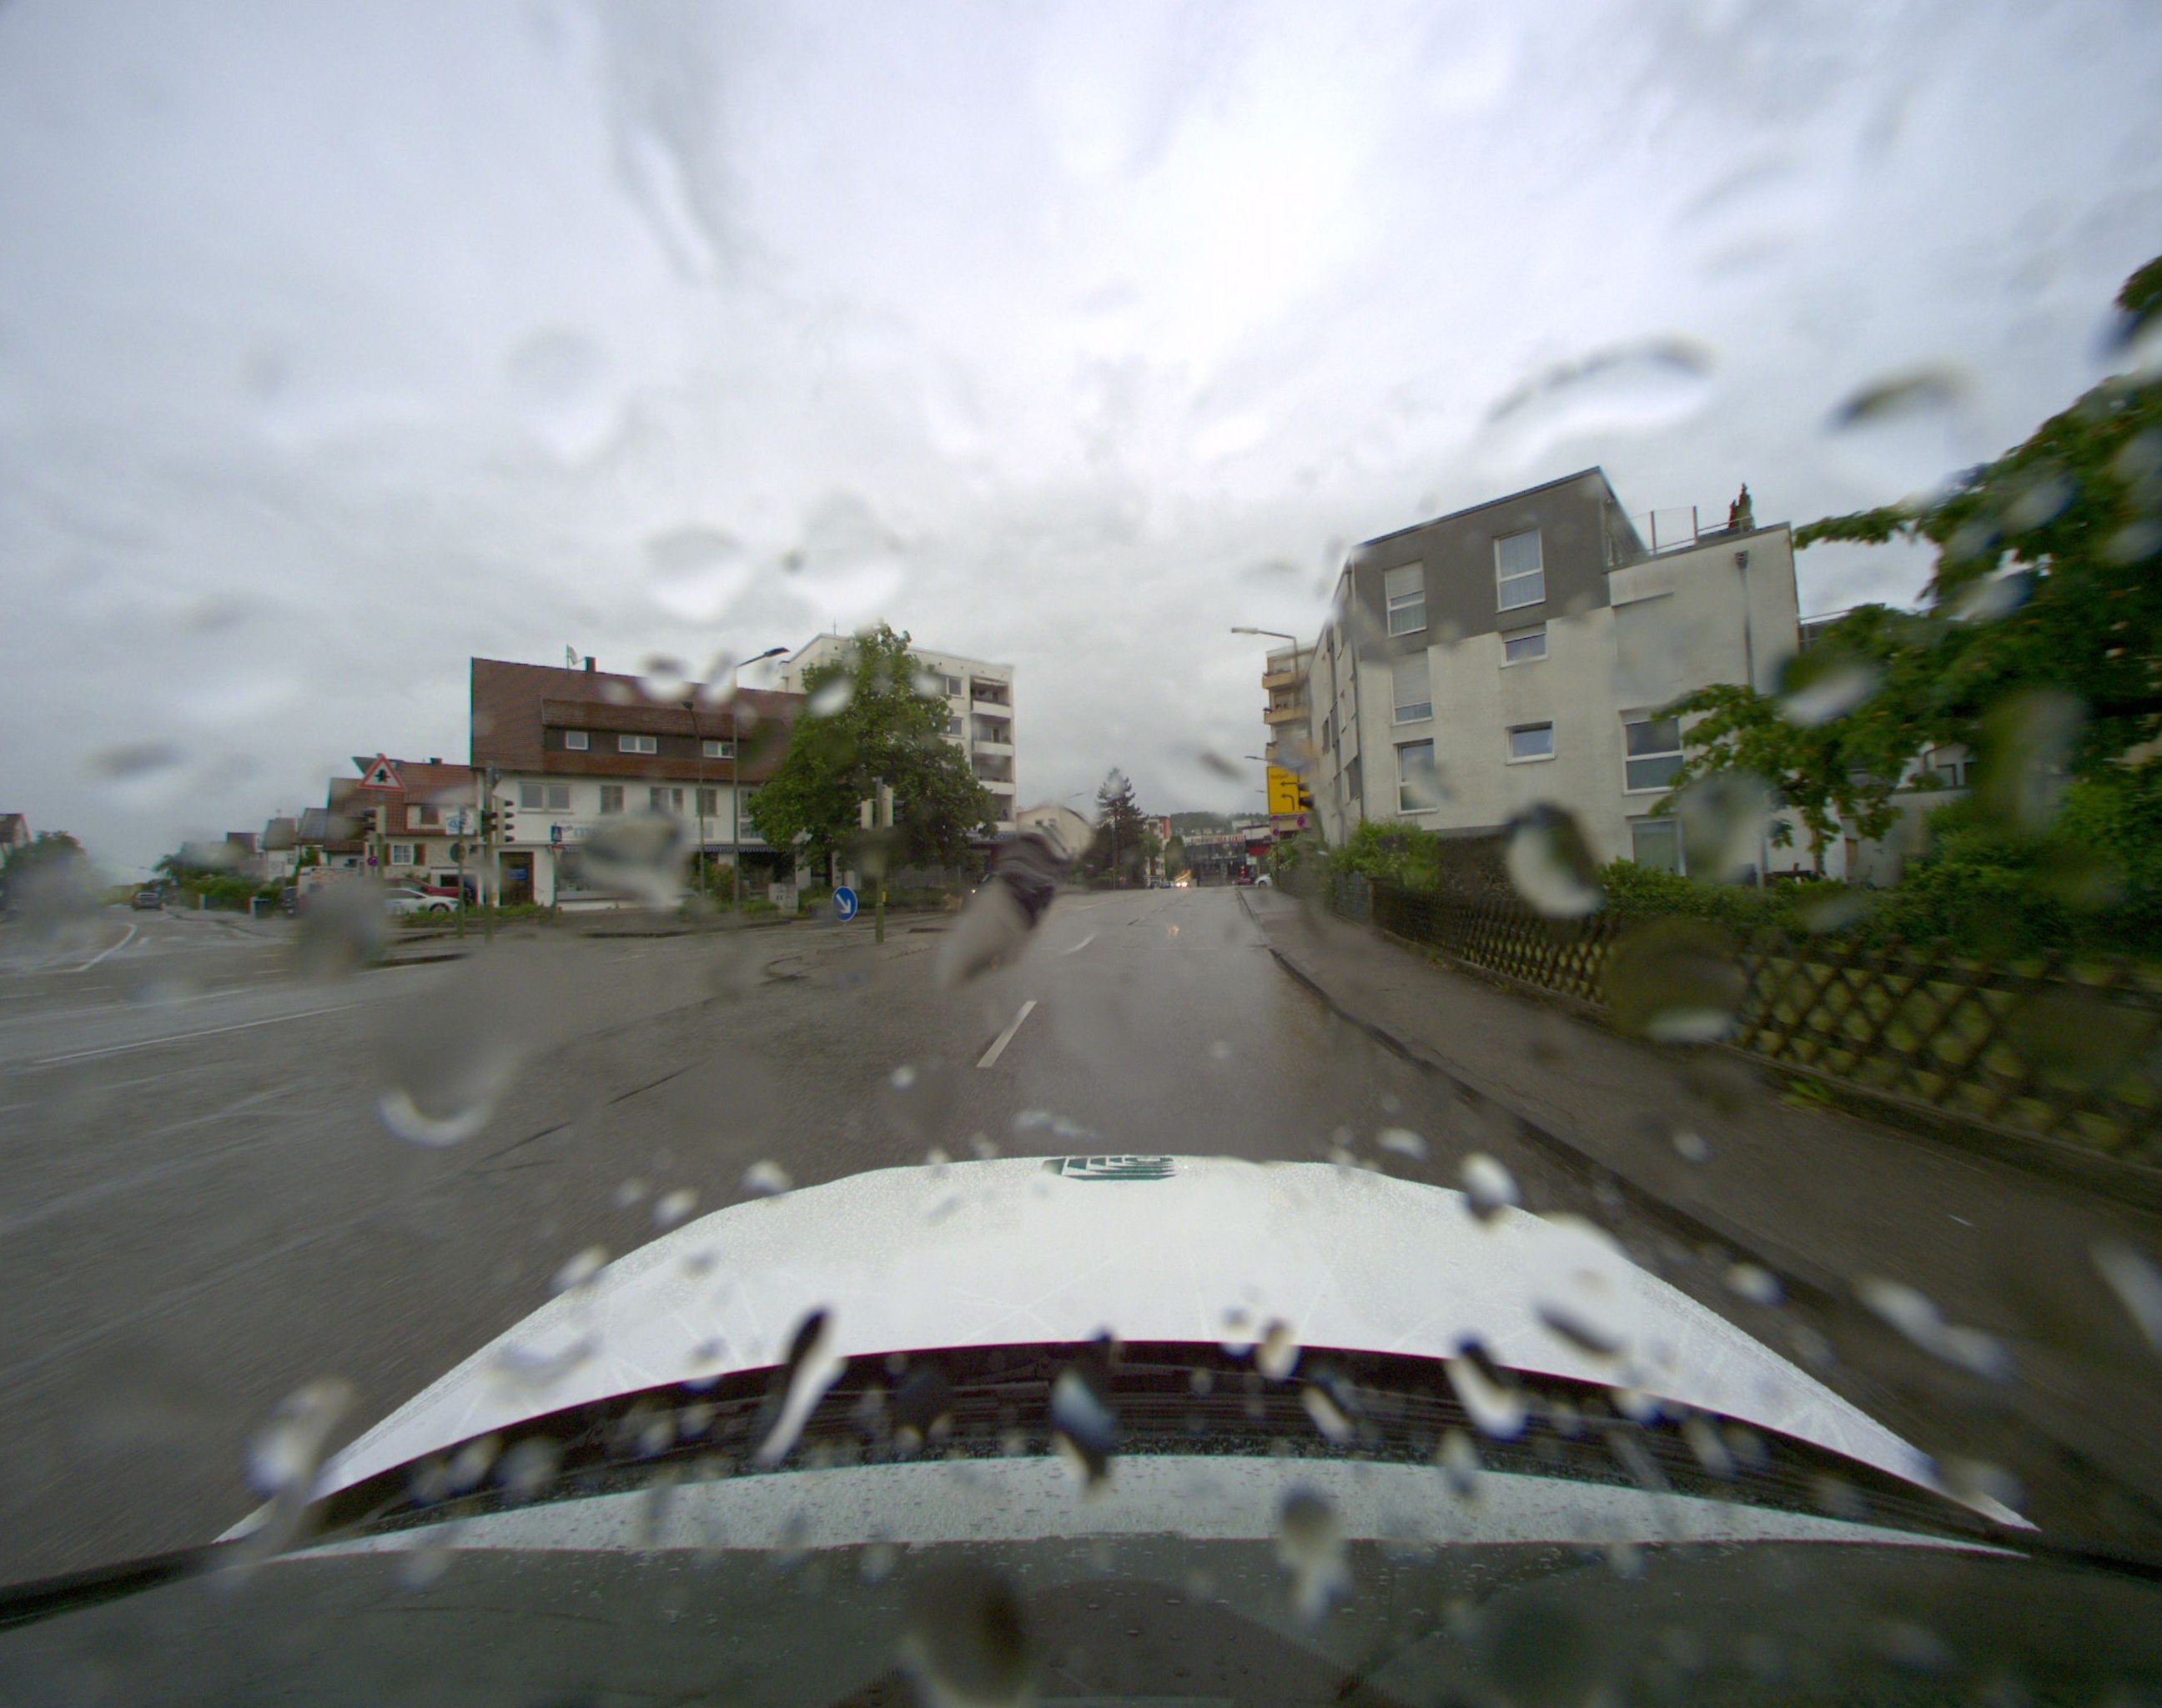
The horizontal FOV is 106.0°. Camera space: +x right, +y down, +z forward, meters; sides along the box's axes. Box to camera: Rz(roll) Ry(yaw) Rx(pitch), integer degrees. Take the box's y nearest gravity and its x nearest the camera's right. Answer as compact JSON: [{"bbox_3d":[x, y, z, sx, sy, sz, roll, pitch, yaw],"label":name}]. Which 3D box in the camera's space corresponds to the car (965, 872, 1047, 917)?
[{"bbox_3d":[-2.868,1.544,32.162,1.789,1.557,4.335,-2,-1,15],"label":"car"}]

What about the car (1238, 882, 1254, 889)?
[{"bbox_3d":[34.477,6.545,169.804,1.787,1.419,4.025,-4,-3,34],"label":"car"}]

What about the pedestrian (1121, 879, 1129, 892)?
[{"bbox_3d":[5.685,4.072,104.992,0.865,1.607,1.104,-2,-3,4],"label":"pedestrian"}]

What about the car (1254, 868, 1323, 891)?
[{"bbox_3d":[14.530,1.800,57.039,4.216,1.494,1.885,-3,-1,39],"label":"car"}]

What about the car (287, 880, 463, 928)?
[{"bbox_3d":[-31.608,2.187,36.765,5.882,1.842,1.977,-1,-2,-39],"label":"car"}]

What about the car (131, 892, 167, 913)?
[{"bbox_3d":[-95.001,4.948,83.061,2.011,2.014,3.951,-1,-2,-43],"label":"car"}]

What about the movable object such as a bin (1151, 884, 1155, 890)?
[{"bbox_3d":[12.899,5.877,145.402,0.643,0.966,0.685,-3,-3,13],"label":"movable object such as a bin"}]

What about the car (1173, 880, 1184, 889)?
[{"bbox_3d":[17.844,5.503,148.684,1.688,1.409,4.010,-5,-2,9],"label":"car"}]

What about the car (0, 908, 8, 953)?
[{"bbox_3d":[-34.606,2.418,24.745,4.234,1.435,1.845,-3,-2,45],"label":"car"}]

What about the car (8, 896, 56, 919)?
[{"bbox_3d":[-101.608,5.155,78.929,2.010,2.014,3.954,0,-2,-39],"label":"car"}]

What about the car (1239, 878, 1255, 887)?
[{"bbox_3d":[30.692,5.237,150.558,1.976,1.534,4.671,-2,-4,23],"label":"car"}]

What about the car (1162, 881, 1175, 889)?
[{"bbox_3d":[16.048,5.703,149.367,1.640,1.521,4.339,-2,-3,14],"label":"car"}]

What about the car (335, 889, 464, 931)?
[{"bbox_3d":[-29.244,2.375,35.134,4.015,1.526,1.979,-1,-1,-33],"label":"car"}]
